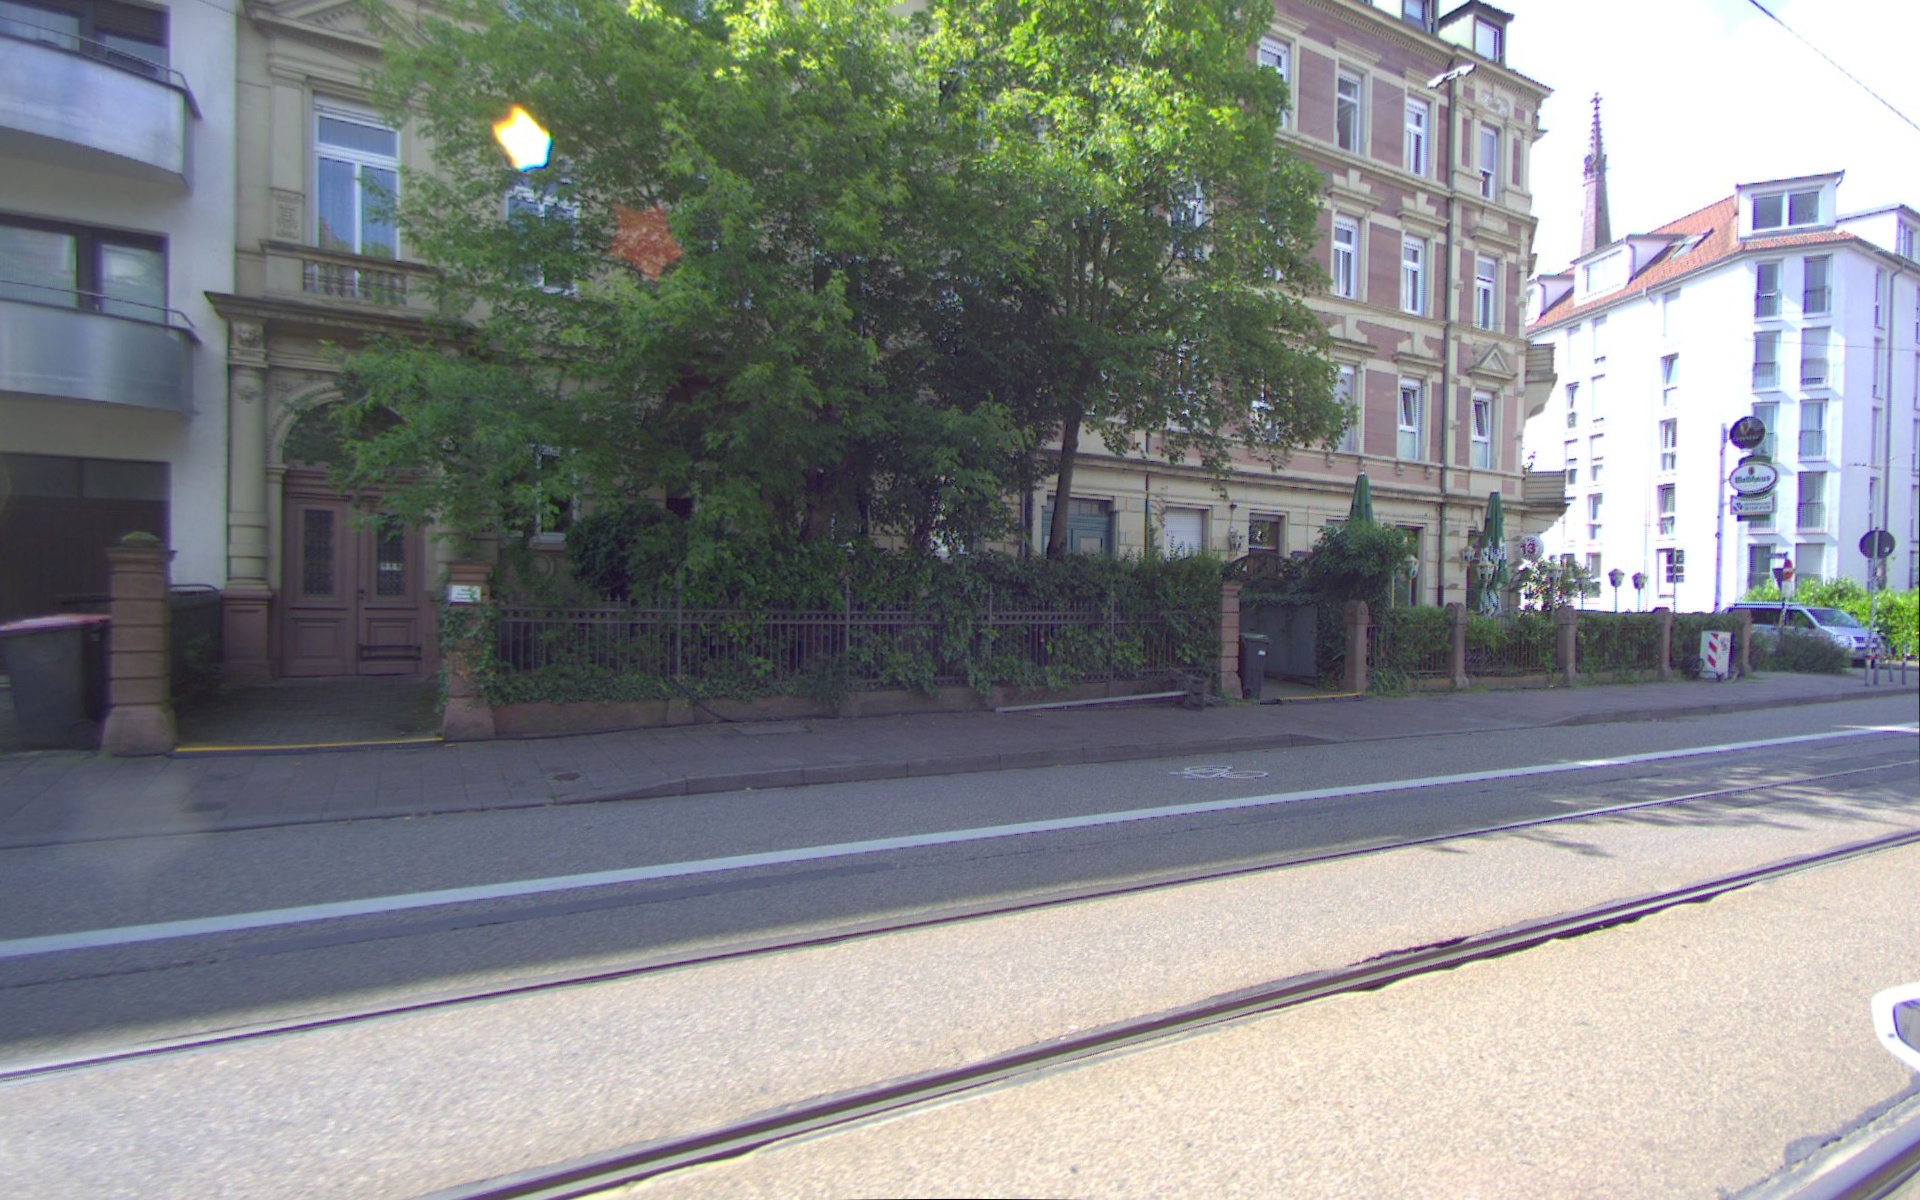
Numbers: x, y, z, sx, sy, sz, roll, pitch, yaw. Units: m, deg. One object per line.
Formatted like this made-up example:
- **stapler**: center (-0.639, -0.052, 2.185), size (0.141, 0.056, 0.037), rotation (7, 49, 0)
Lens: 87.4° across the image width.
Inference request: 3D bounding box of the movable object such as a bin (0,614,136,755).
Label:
- **movable object such as a bin**: center (-7.477, 0.685, 8.398), size (0.779, 1.109, 0.536), rotation (1, 0, -25)

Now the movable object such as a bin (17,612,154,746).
- **movable object such as a bin**: center (-7.737, 0.679, 8.918), size (0.779, 1.123, 0.547), rotation (1, 0, -25)

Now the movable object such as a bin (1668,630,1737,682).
- **movable object such as a bin**: center (15.572, 1.154, 21.072), size (1.101, 1.001, 0.741), rotation (1, 2, -30)

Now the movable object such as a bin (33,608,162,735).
- **movable object such as a bin**: center (-8.046, 0.650, 9.400), size (0.779, 1.123, 0.547), rotation (1, 0, -25)

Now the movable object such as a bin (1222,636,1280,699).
- **movable object such as a bin**: center (4.338, 0.998, 15.005), size (0.609, 0.888, 0.559), rotation (1, 0, -30)

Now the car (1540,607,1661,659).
- **car**: center (20.384, 1.036, 32.005), size (3.128, 1.588, 1.391), rotation (1, 0, -11)

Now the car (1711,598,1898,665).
- **car**: center (28.229, 0.986, 33.812), size (2.008, 2.040, 4.671), rotation (1, 0, -7)
